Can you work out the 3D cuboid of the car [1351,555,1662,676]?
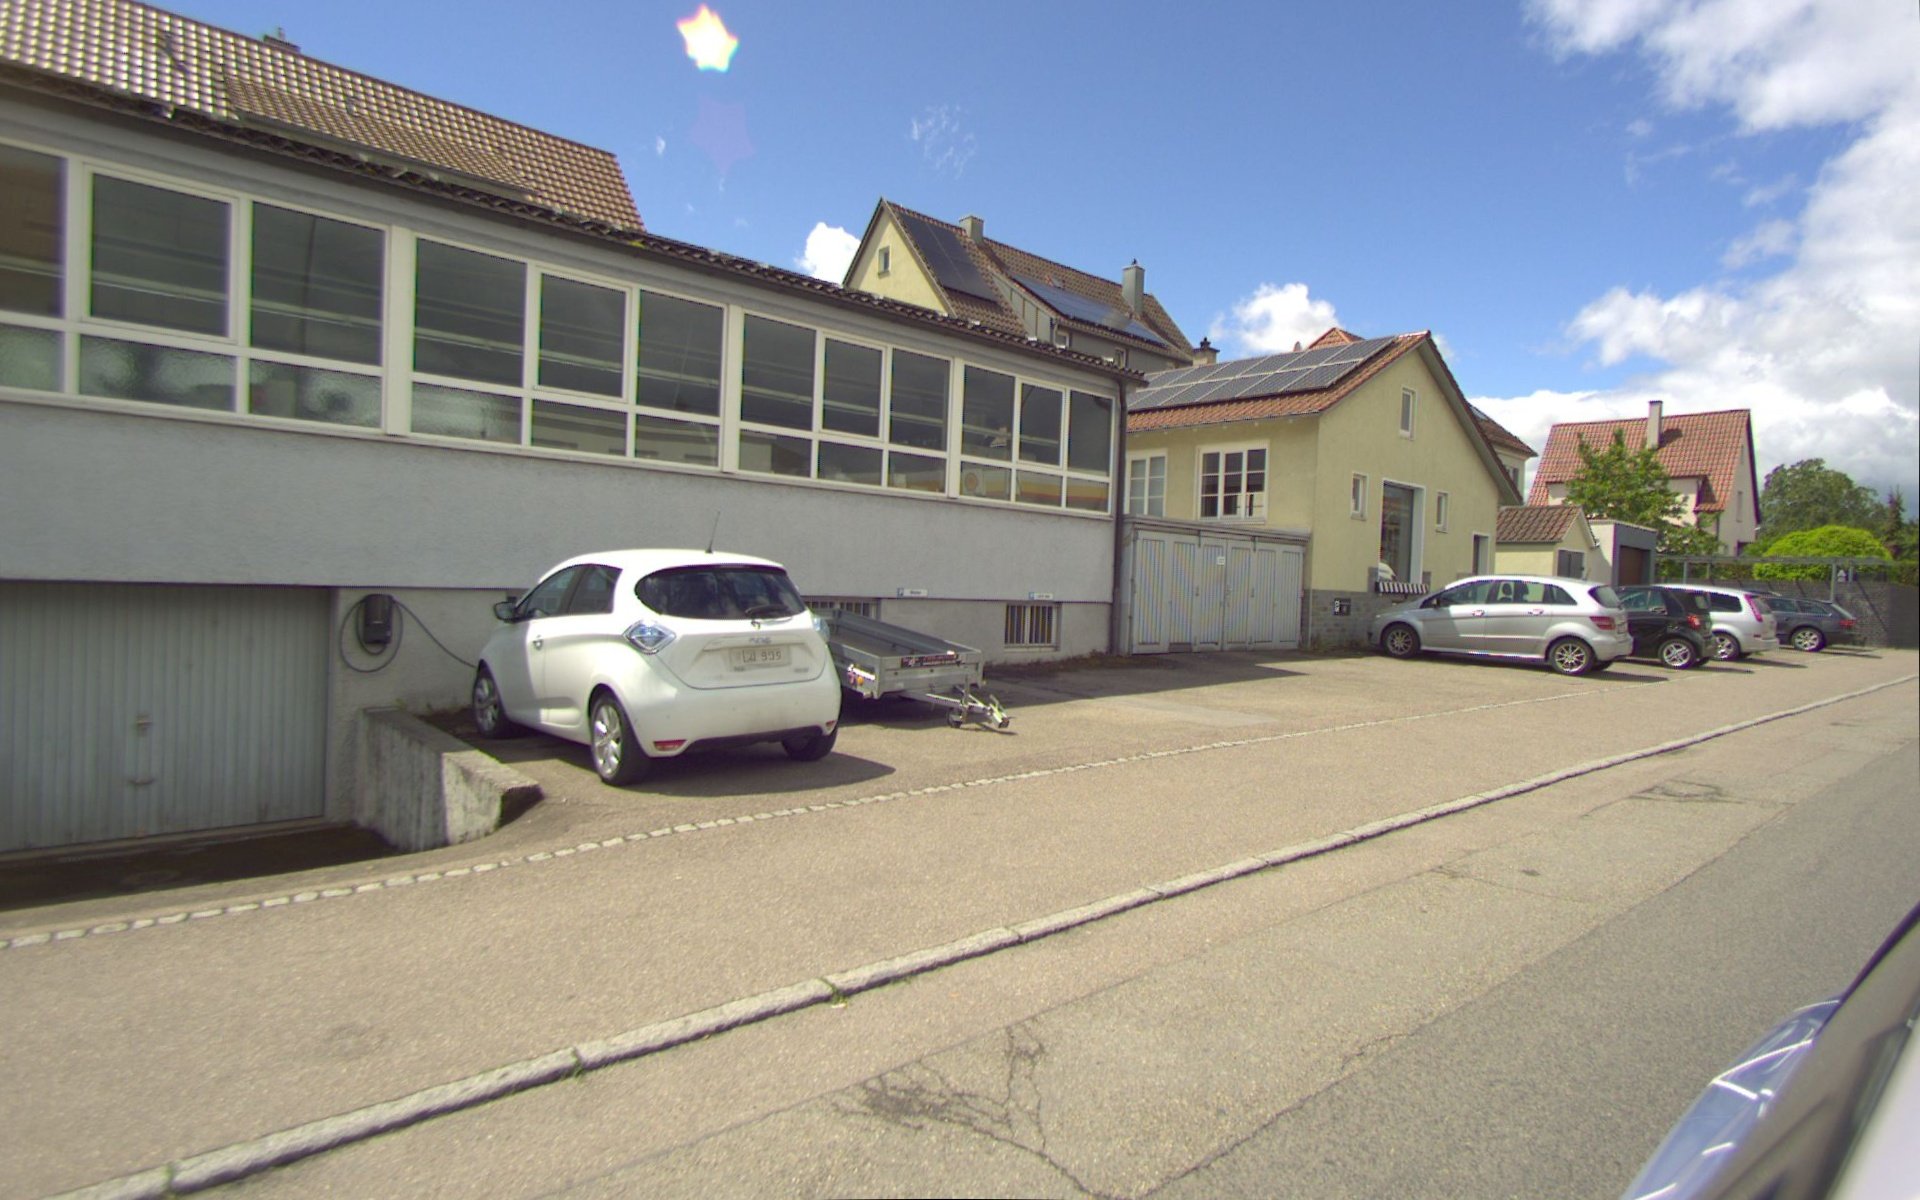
[{"bbox_3d":[9.595,0.169,18.048,1.941,1.627,4.416,0,5,-42],"label":"car"}]

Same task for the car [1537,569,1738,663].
[{"bbox_3d":[13.530,0.262,20.272,1.941,1.543,2.893,0,5,-43],"label":"car"}]

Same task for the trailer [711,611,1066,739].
[{"bbox_3d":[-0.886,0.639,10.270,1.628,0.818,3.824,0,3,-41],"label":"trailer"}]

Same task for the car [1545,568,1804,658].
[{"bbox_3d":[16.075,0.225,22.956,1.941,1.543,4.416,0,5,-42],"label":"car"}]

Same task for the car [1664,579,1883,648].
[{"bbox_3d":[22.328,0.305,27.913,1.941,1.423,4.416,0,5,-42],"label":"car"}]

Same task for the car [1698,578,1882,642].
[{"bbox_3d":[24.796,0.251,30.327,1.823,1.634,4.010,1,3,-42],"label":"car"}]

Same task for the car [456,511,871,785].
[{"bbox_3d":[-2.550,0.265,8.067,1.719,1.629,3.906,1,0,-41],"label":"car"}]
